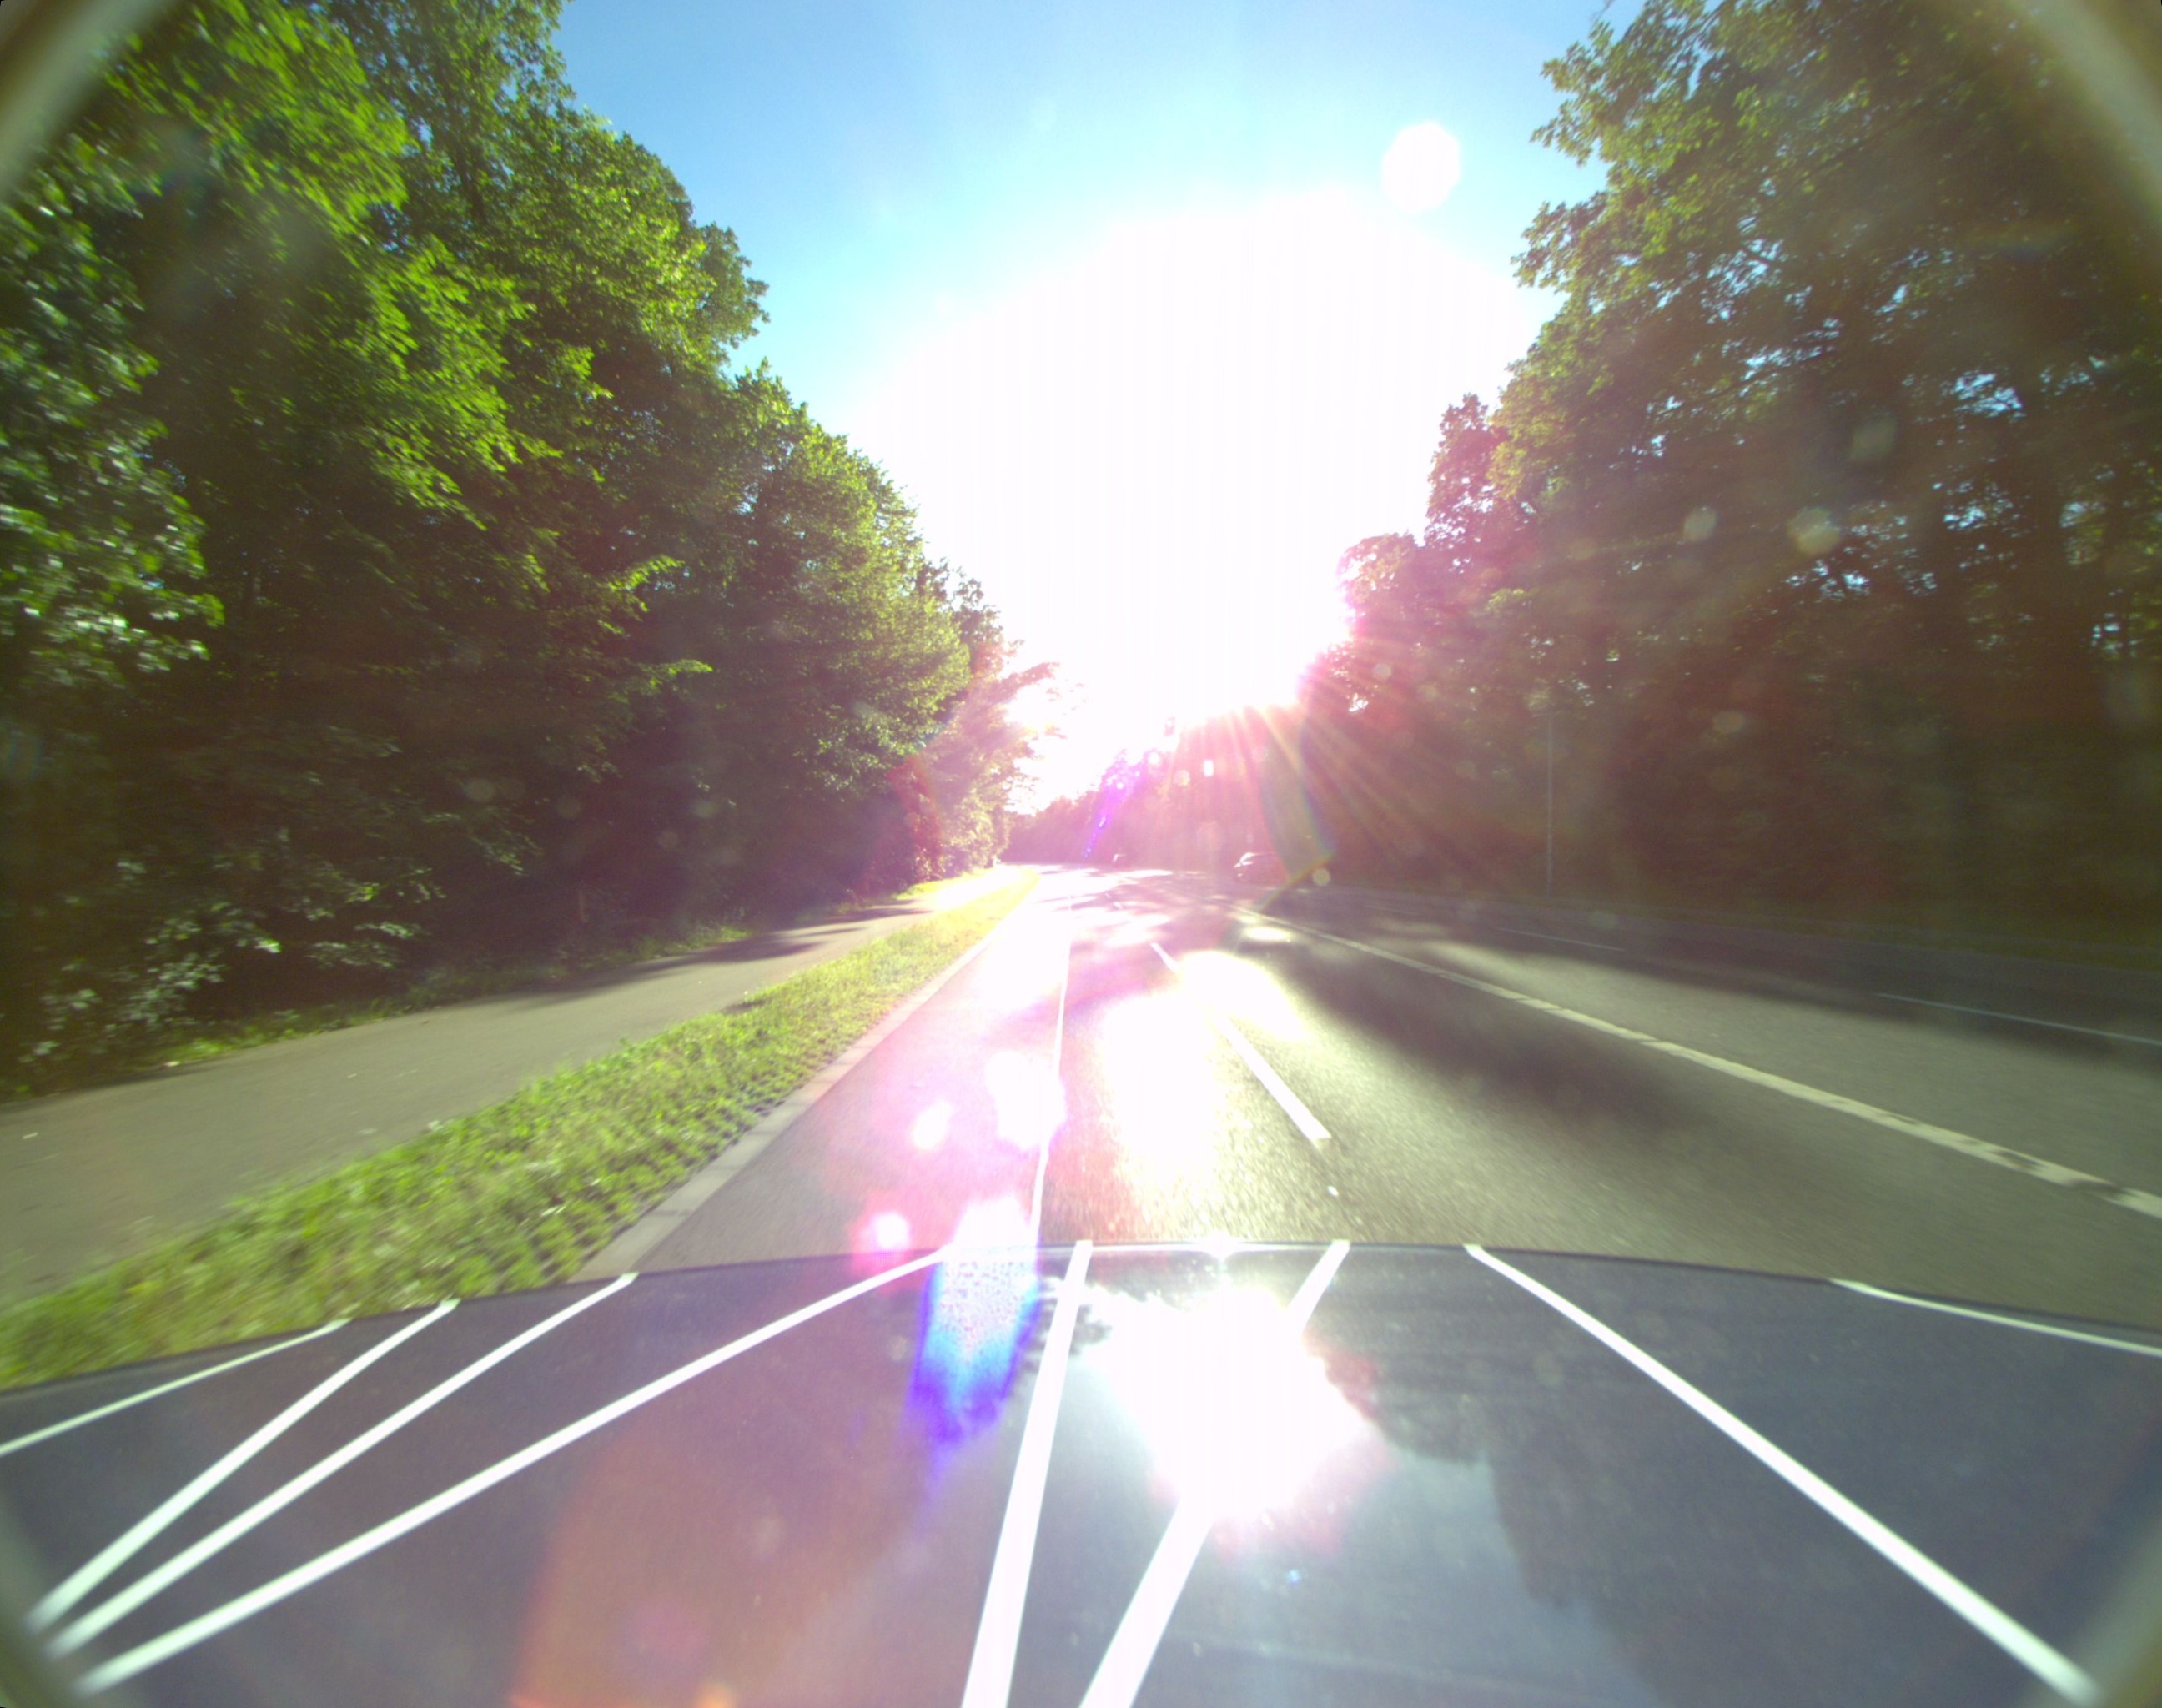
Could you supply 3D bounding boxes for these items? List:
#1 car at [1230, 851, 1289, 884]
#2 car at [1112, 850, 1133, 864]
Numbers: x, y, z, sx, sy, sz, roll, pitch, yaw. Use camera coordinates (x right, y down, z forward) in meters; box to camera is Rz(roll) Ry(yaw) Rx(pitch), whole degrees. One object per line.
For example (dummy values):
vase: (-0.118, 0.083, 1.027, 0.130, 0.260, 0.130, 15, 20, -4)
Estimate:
car: (8.371, 0.599, 35.889, 1.714, 1.415, 4.130, -2, 0, -1)
car: (5.111, 0.358, 94.266, 1.813, 1.653, 4.519, -1, 0, -5)
